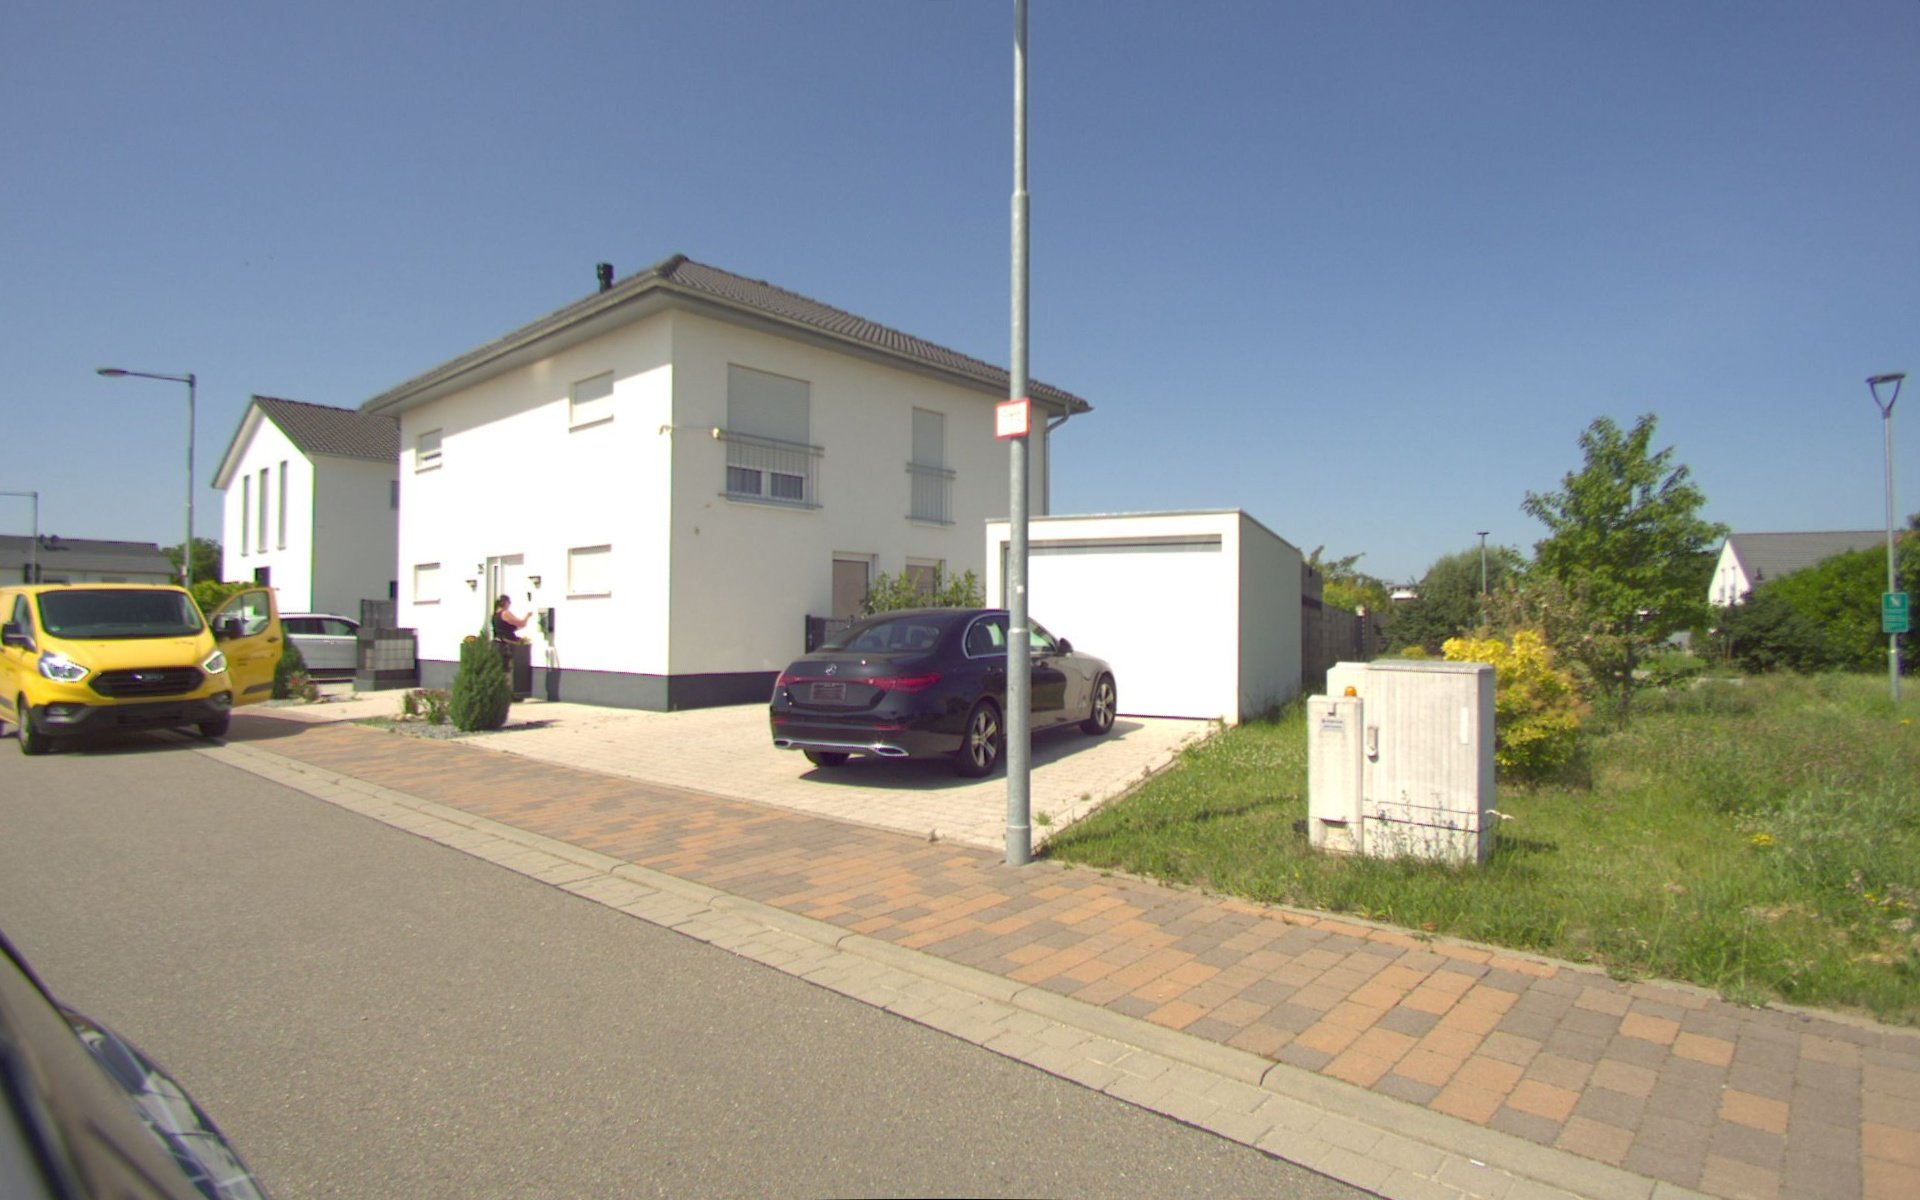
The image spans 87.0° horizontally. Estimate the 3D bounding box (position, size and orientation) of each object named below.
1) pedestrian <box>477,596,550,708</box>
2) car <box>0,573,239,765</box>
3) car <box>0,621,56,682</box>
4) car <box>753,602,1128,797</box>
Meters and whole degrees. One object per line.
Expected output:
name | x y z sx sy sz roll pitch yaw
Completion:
pedestrian | -7.082 0.804 16.064 0.918 1.698 0.538 -2 0 -38
car | -11.157 0.769 12.972 4.835 2.029 1.866 -1 -1 38
car | -25.193 1.317 26.646 4.444 1.484 1.672 -1 0 43
car | 0.083 0.761 9.920 1.741 1.463 4.364 -1 -1 29
